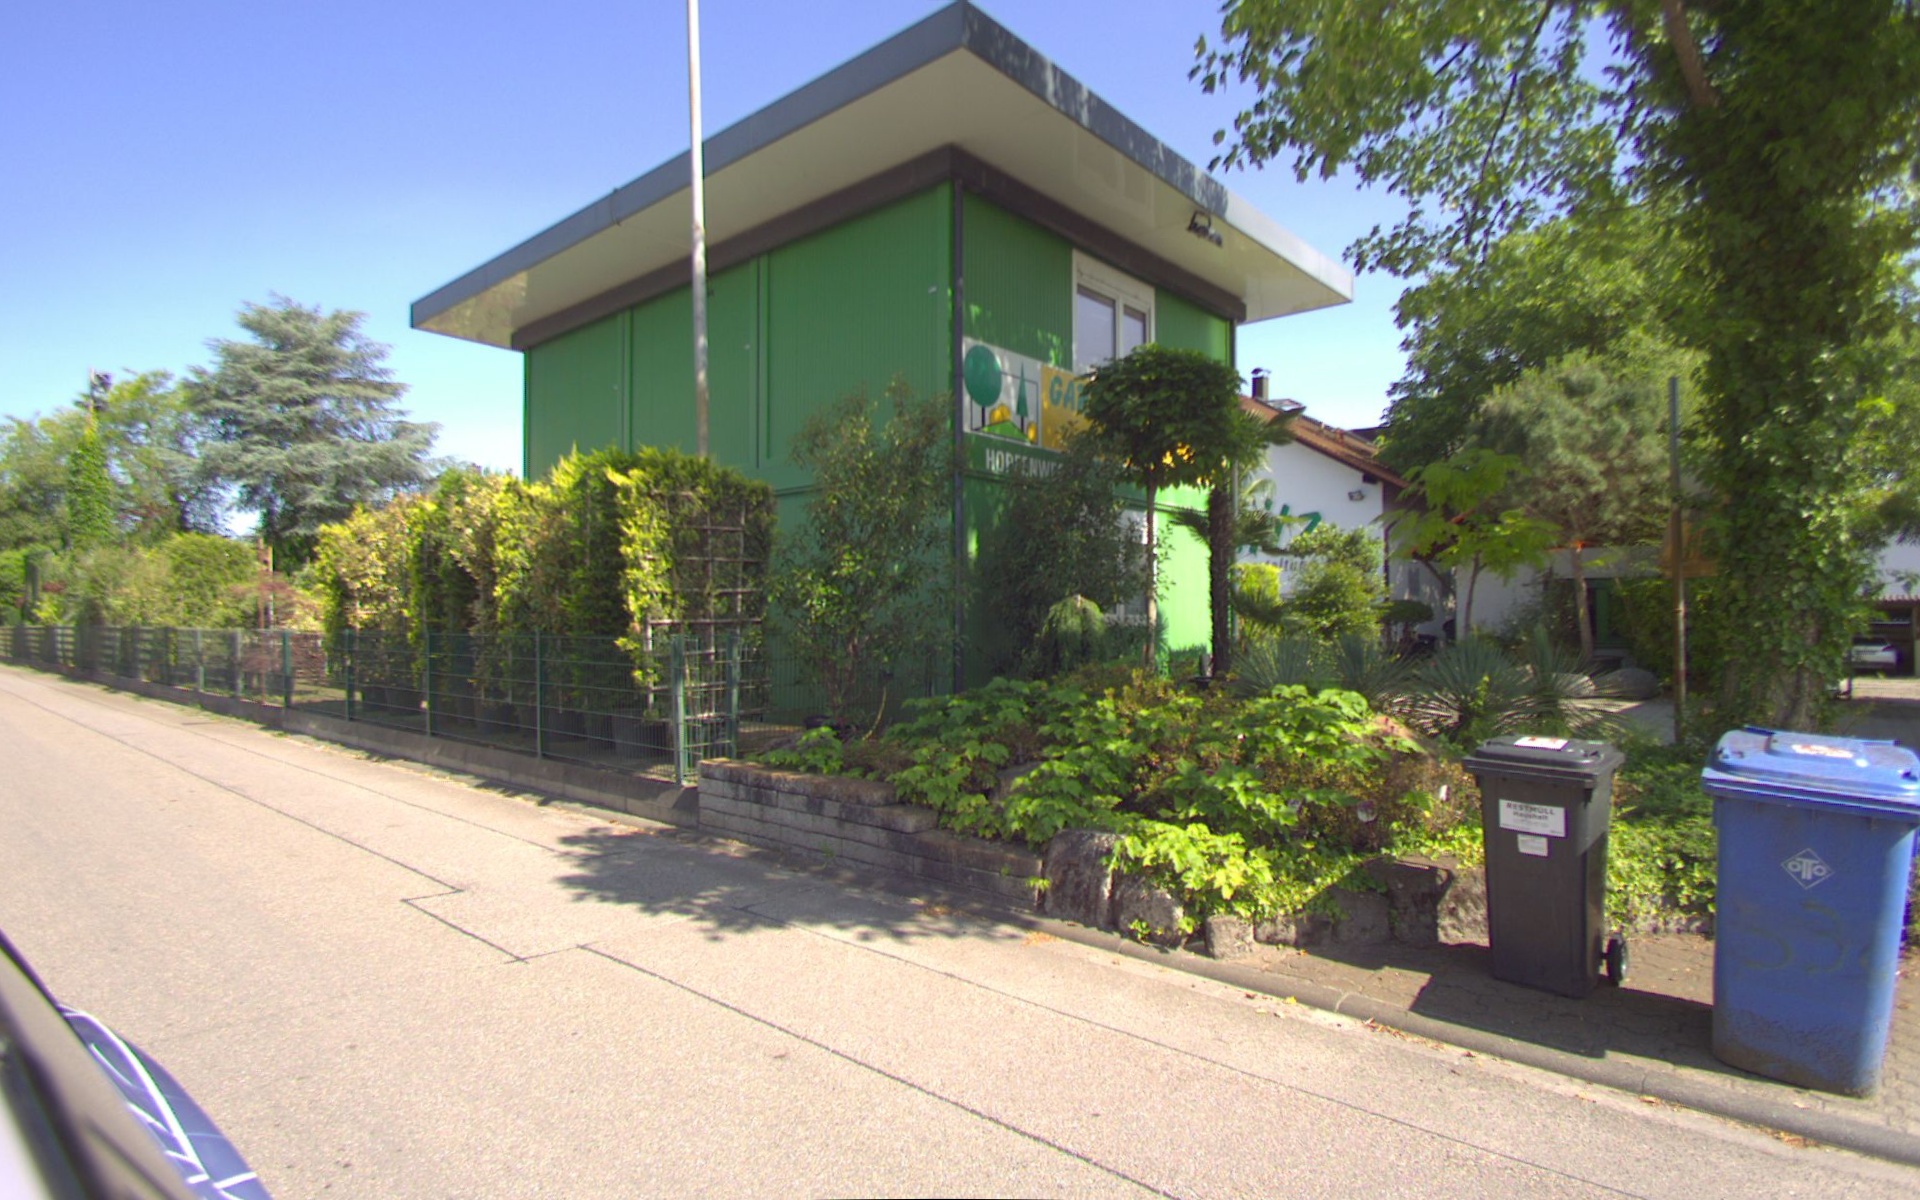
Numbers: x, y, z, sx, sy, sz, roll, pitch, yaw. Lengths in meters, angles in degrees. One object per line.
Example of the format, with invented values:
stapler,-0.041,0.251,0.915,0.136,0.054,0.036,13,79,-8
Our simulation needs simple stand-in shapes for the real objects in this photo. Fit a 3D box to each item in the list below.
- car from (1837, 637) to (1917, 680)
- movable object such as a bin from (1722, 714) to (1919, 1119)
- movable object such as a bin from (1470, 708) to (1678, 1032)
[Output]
car,33.541,2.088,36.972,3.940,1.453,1.904,2,-3,-44
movable object such as a bin,2.873,0.947,3.245,0.612,1.062,0.723,-2,-1,42
movable object such as a bin,2.355,0.968,3.878,0.568,1.032,0.576,-2,-1,42
